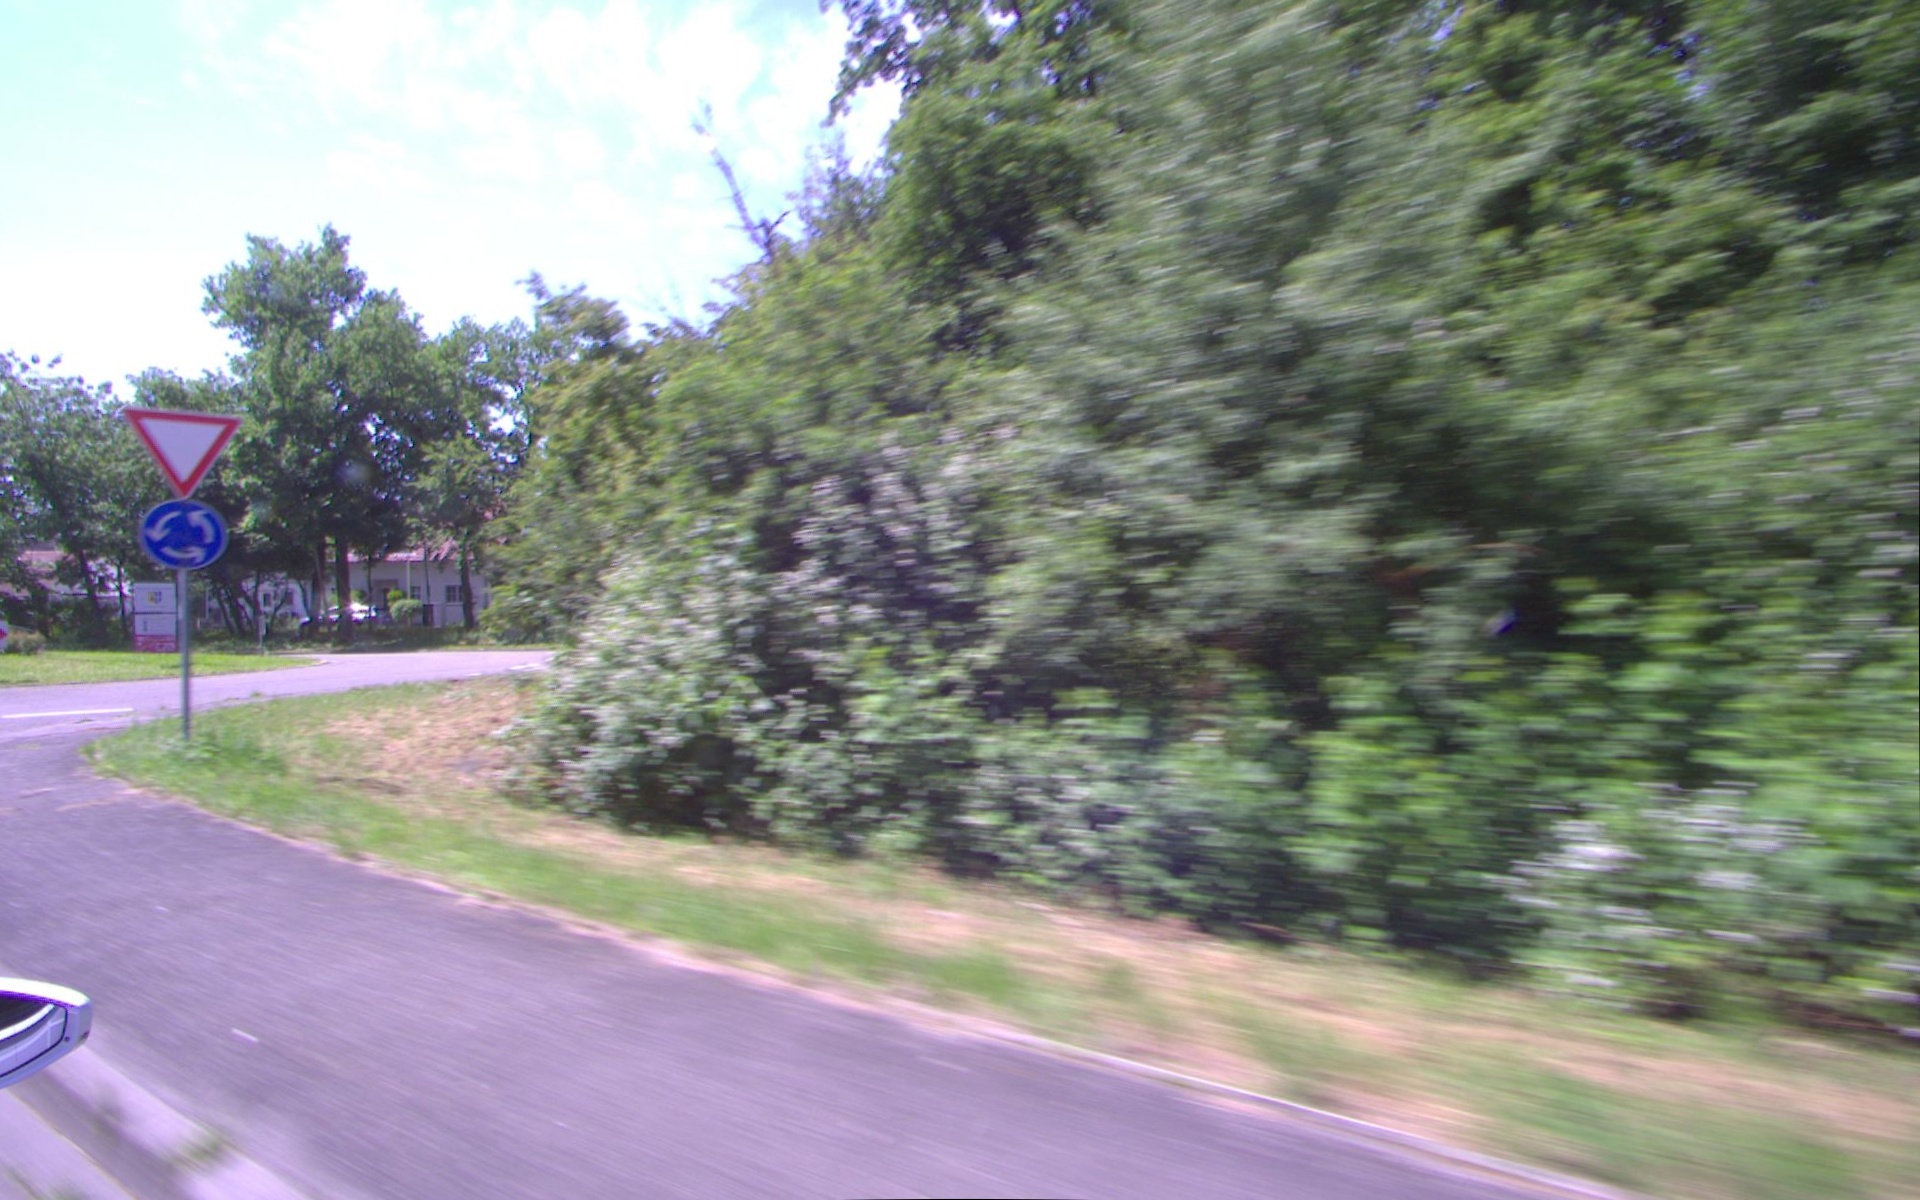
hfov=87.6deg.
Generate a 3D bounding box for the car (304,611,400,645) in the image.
[{"bbox_3d":[-32.478,1.479,53.556,4.063,1.727,1.666,-1,0,-2],"label":"car"}]

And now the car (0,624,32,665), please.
[{"bbox_3d":[-31.953,1.437,31.840,3.487,1.305,1.620,-1,0,3],"label":"car"}]
